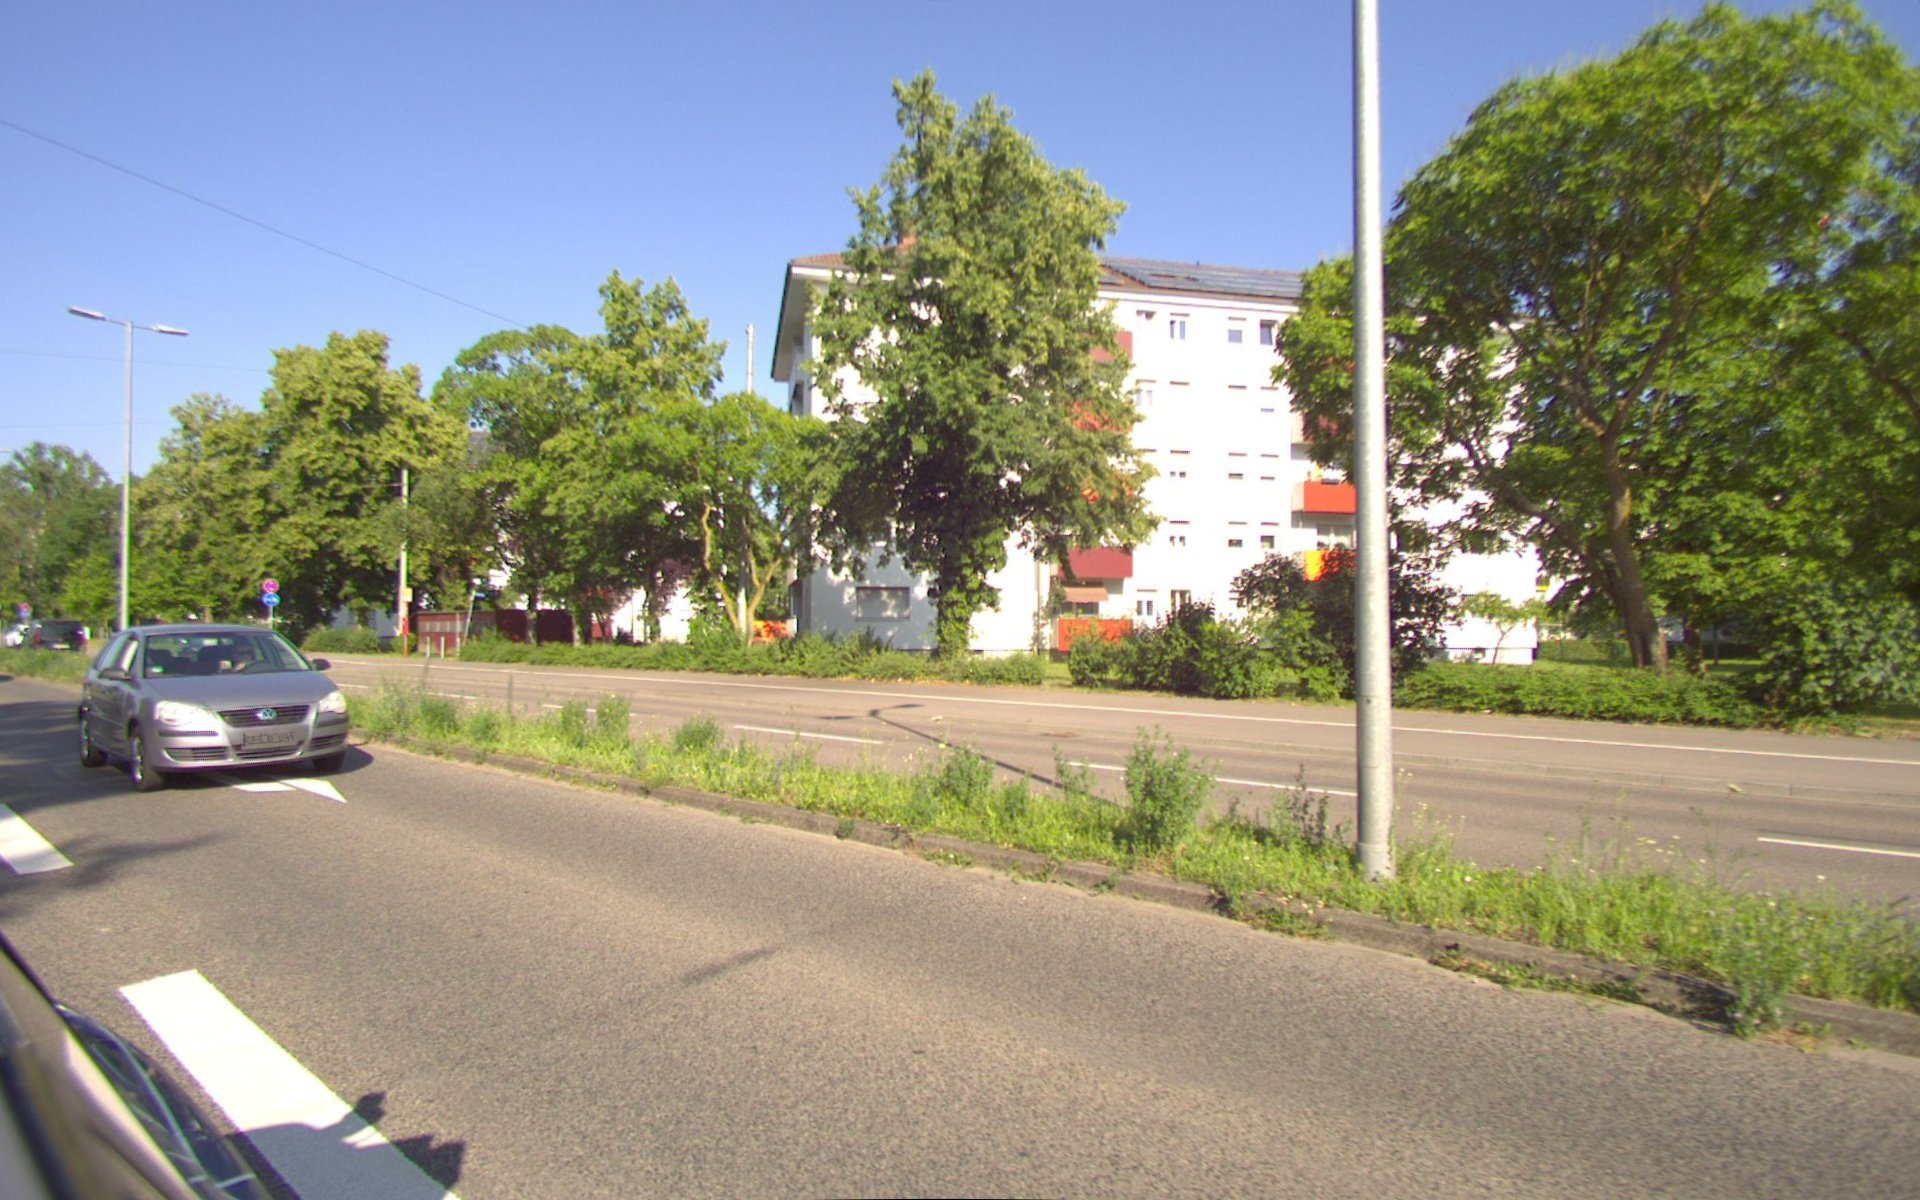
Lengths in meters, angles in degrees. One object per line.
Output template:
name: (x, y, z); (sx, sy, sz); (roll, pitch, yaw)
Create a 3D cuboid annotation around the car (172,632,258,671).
car: (-28.556, 1.938, 38.737); (4.323, 1.430, 1.706); (-2, -3, 41)

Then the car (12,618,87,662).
car: (-39.338, 1.723, 43.688); (4.477, 1.798, 1.772); (-2, -3, 40)

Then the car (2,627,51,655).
car: (-57.270, 2.514, 62.060); (4.512, 1.692, 1.642); (-2, -3, 41)

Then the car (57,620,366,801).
car: (-7.567, 0.949, 10.107); (3.830, 1.439, 1.671); (-2, -1, 40)
